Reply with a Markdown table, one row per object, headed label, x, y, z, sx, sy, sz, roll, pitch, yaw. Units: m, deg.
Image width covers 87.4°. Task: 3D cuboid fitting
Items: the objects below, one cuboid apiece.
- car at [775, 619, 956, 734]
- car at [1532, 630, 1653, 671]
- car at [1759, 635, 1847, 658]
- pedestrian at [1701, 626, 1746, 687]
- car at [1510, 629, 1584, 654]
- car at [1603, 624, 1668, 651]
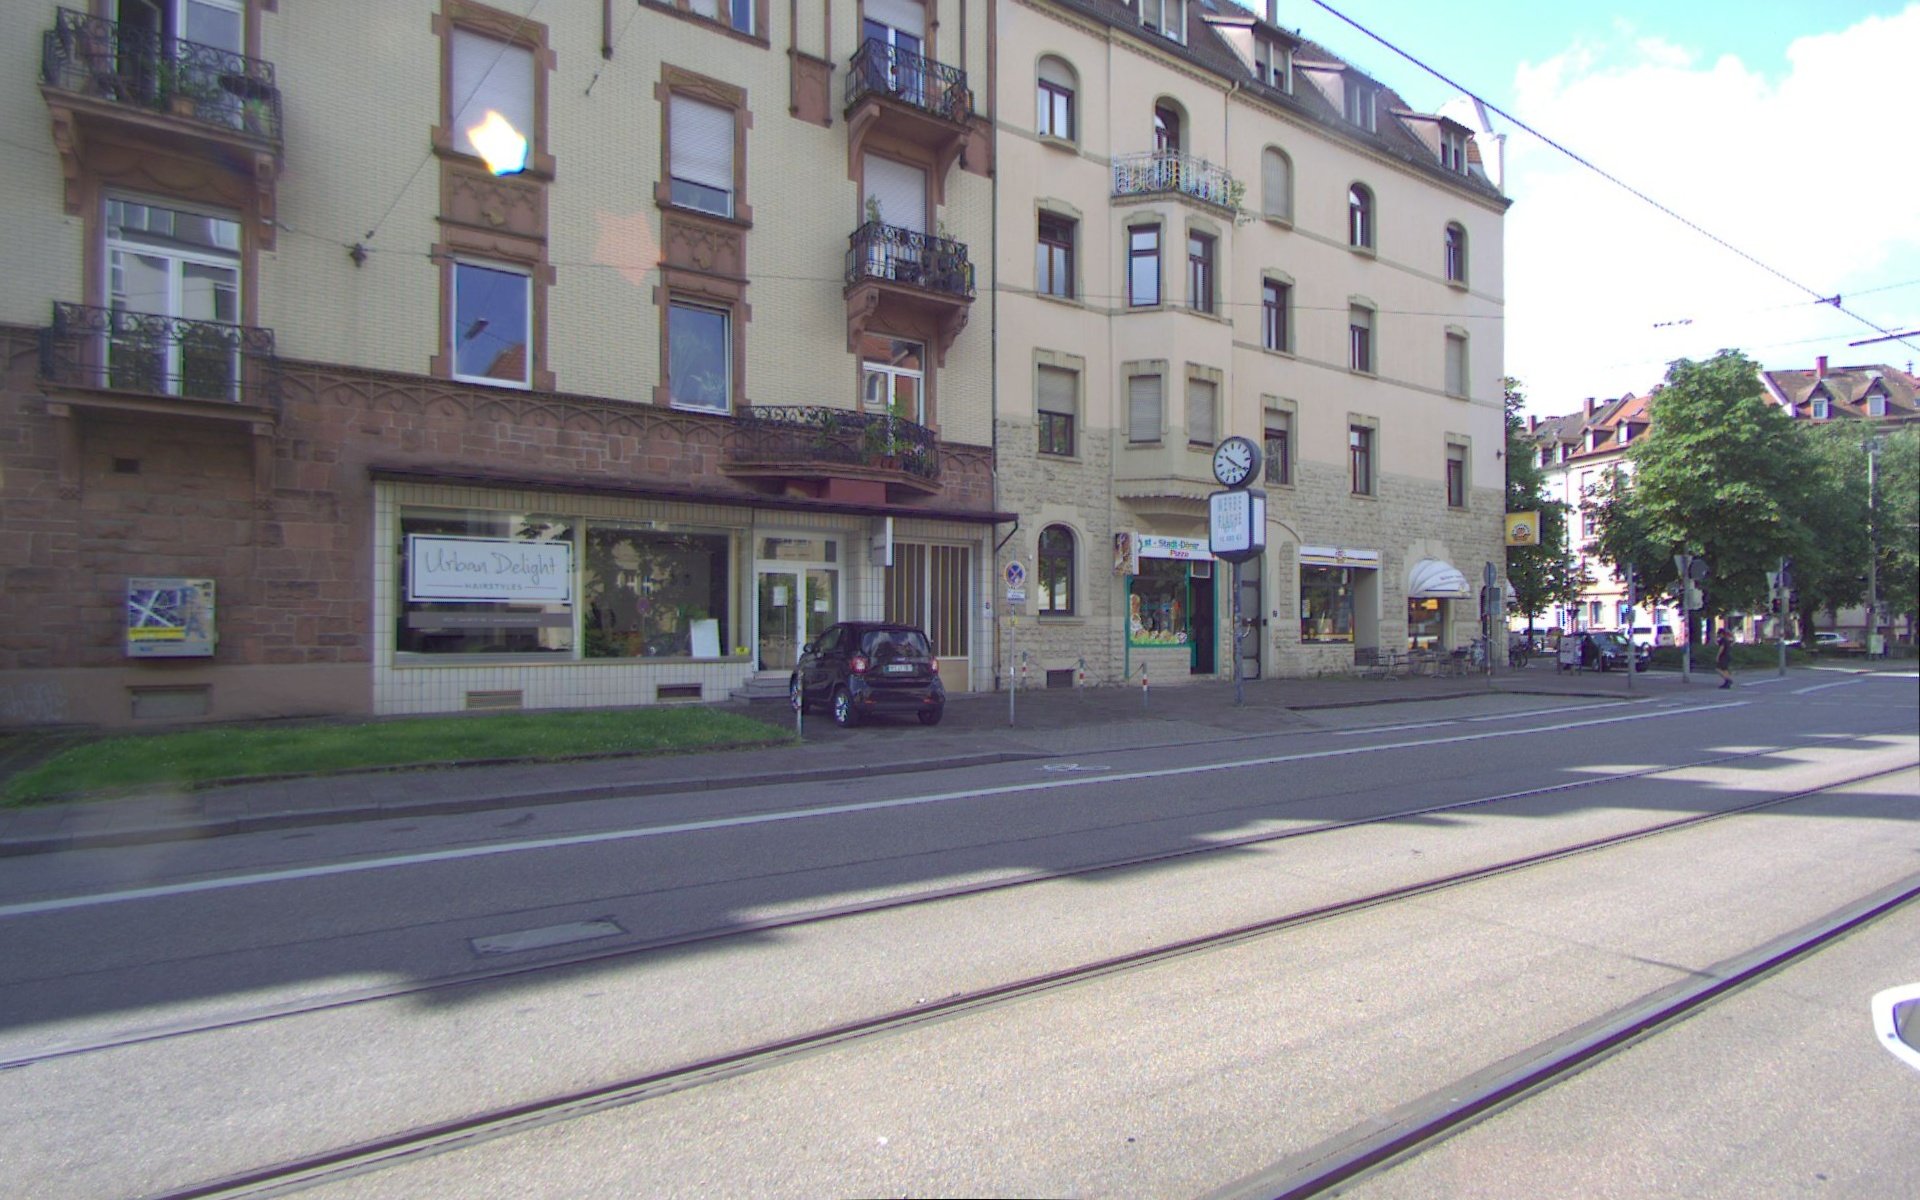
| label | x | y | z | sx | sy | sz | roll | pitch | yaw |
| --- | --- | --- | --- | --- | --- | --- | --- | --- | --- |
| car | -1.595 | 1.130 | 16.100 | 1.716 | 1.505 | 3.163 | 1 | 1 | -30 |
| car | 25.123 | 1.964 | 40.055 | 1.731 | 1.538 | 4.059 | 0 | -2 | -12 |
| car | 53.061 | 2.907 | 63.312 | 3.919 | 1.378 | 1.680 | 0 | -1 | 12 |
| pedestrian | 21.720 | 1.600 | 28.571 | 0.690 | 1.706 | 0.750 | 1 | -1 | -21 |
| car | 40.114 | 2.822 | 68.706 | 1.976 | 1.617 | 3.970 | 1 | -2 | -29 |
| car | 50.364 | 2.760 | 74.969 | 1.962 | 1.929 | 3.997 | 0 | -2 | -5 |
